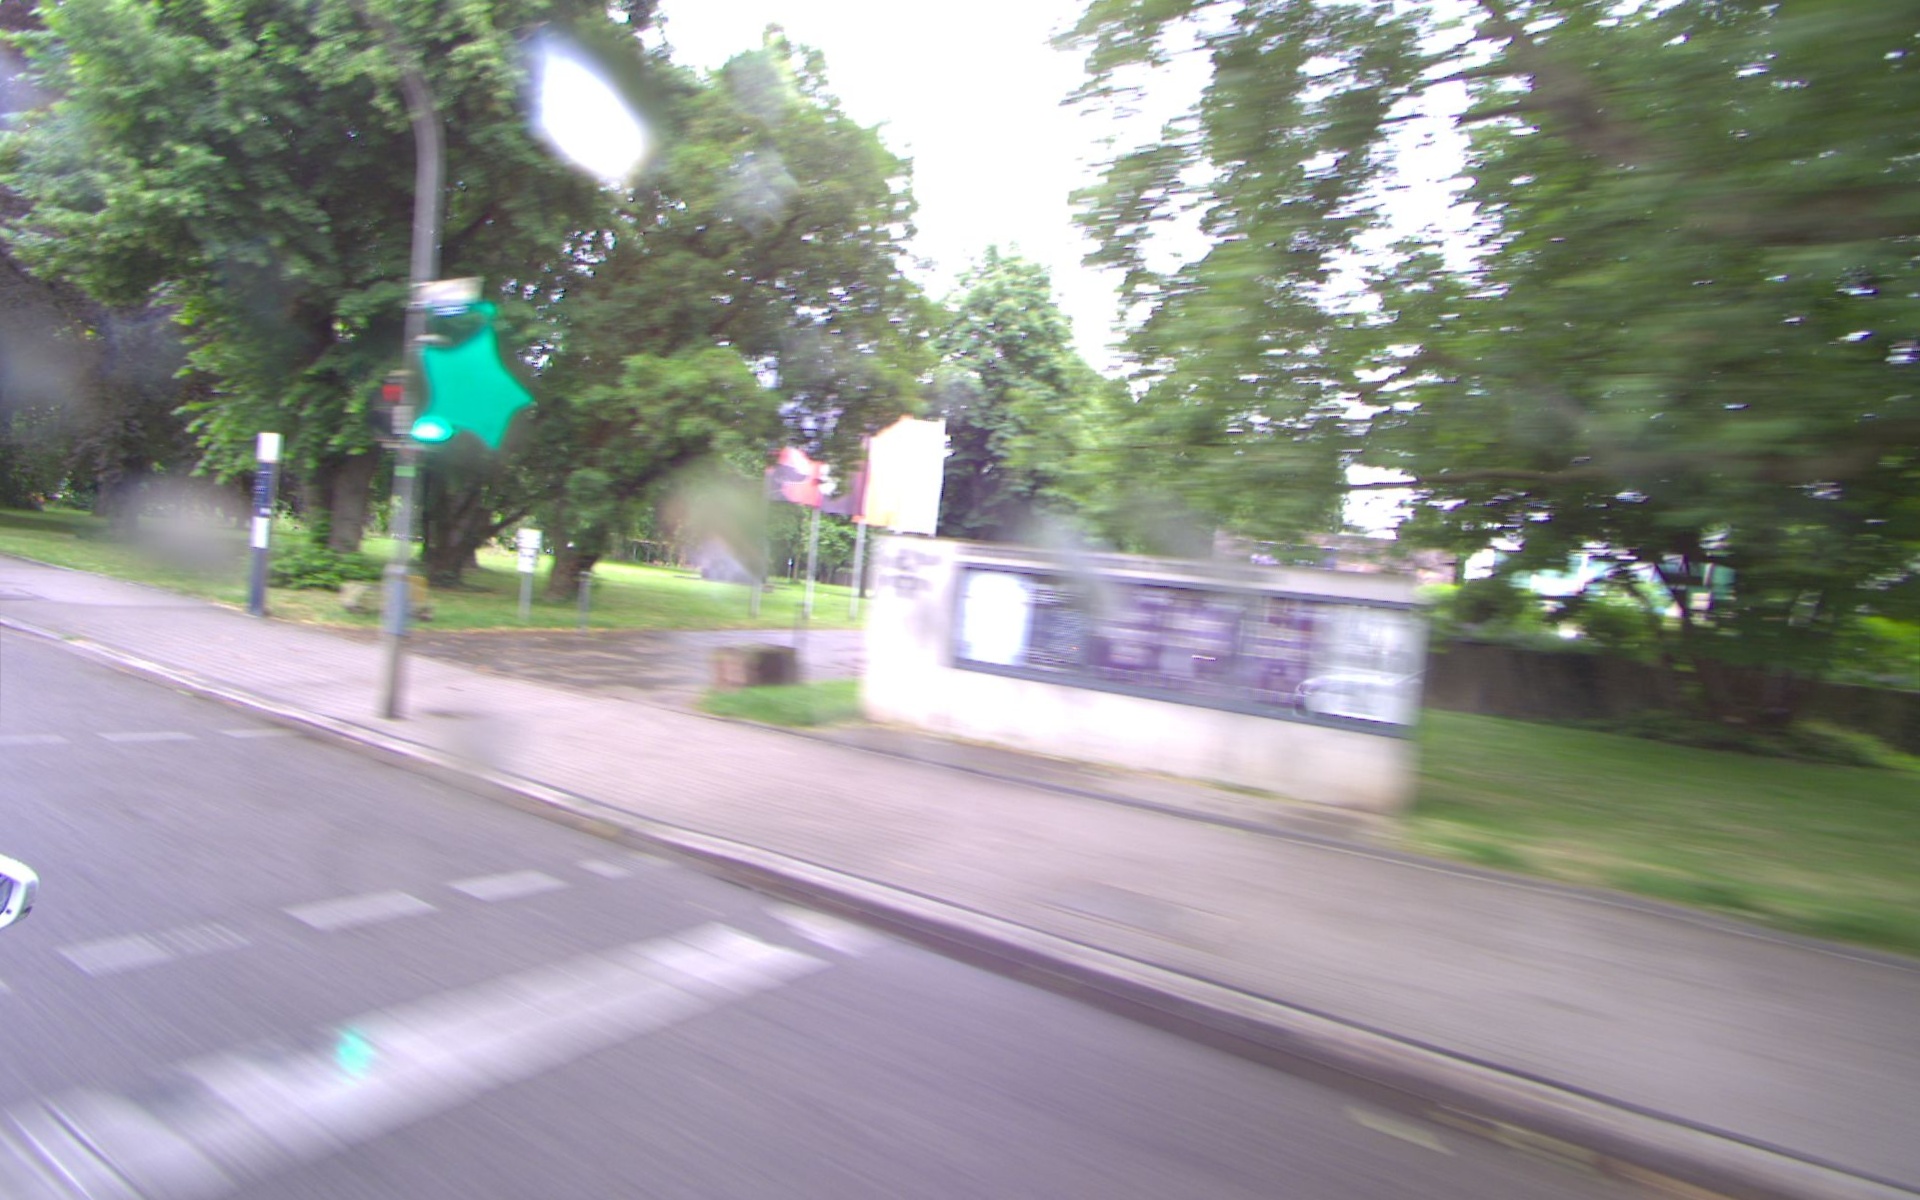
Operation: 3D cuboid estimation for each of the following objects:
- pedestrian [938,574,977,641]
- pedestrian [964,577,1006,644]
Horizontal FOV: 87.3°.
[{"bbox_3d":[-0.059,0.222,28.382,0.711,1.776,0.666,6,-1,23],"label":"pedestrian"},{"bbox_3d":[0.694,0.291,27.743,0.776,1.732,0.666,6,-1,23],"label":"pedestrian"}]
